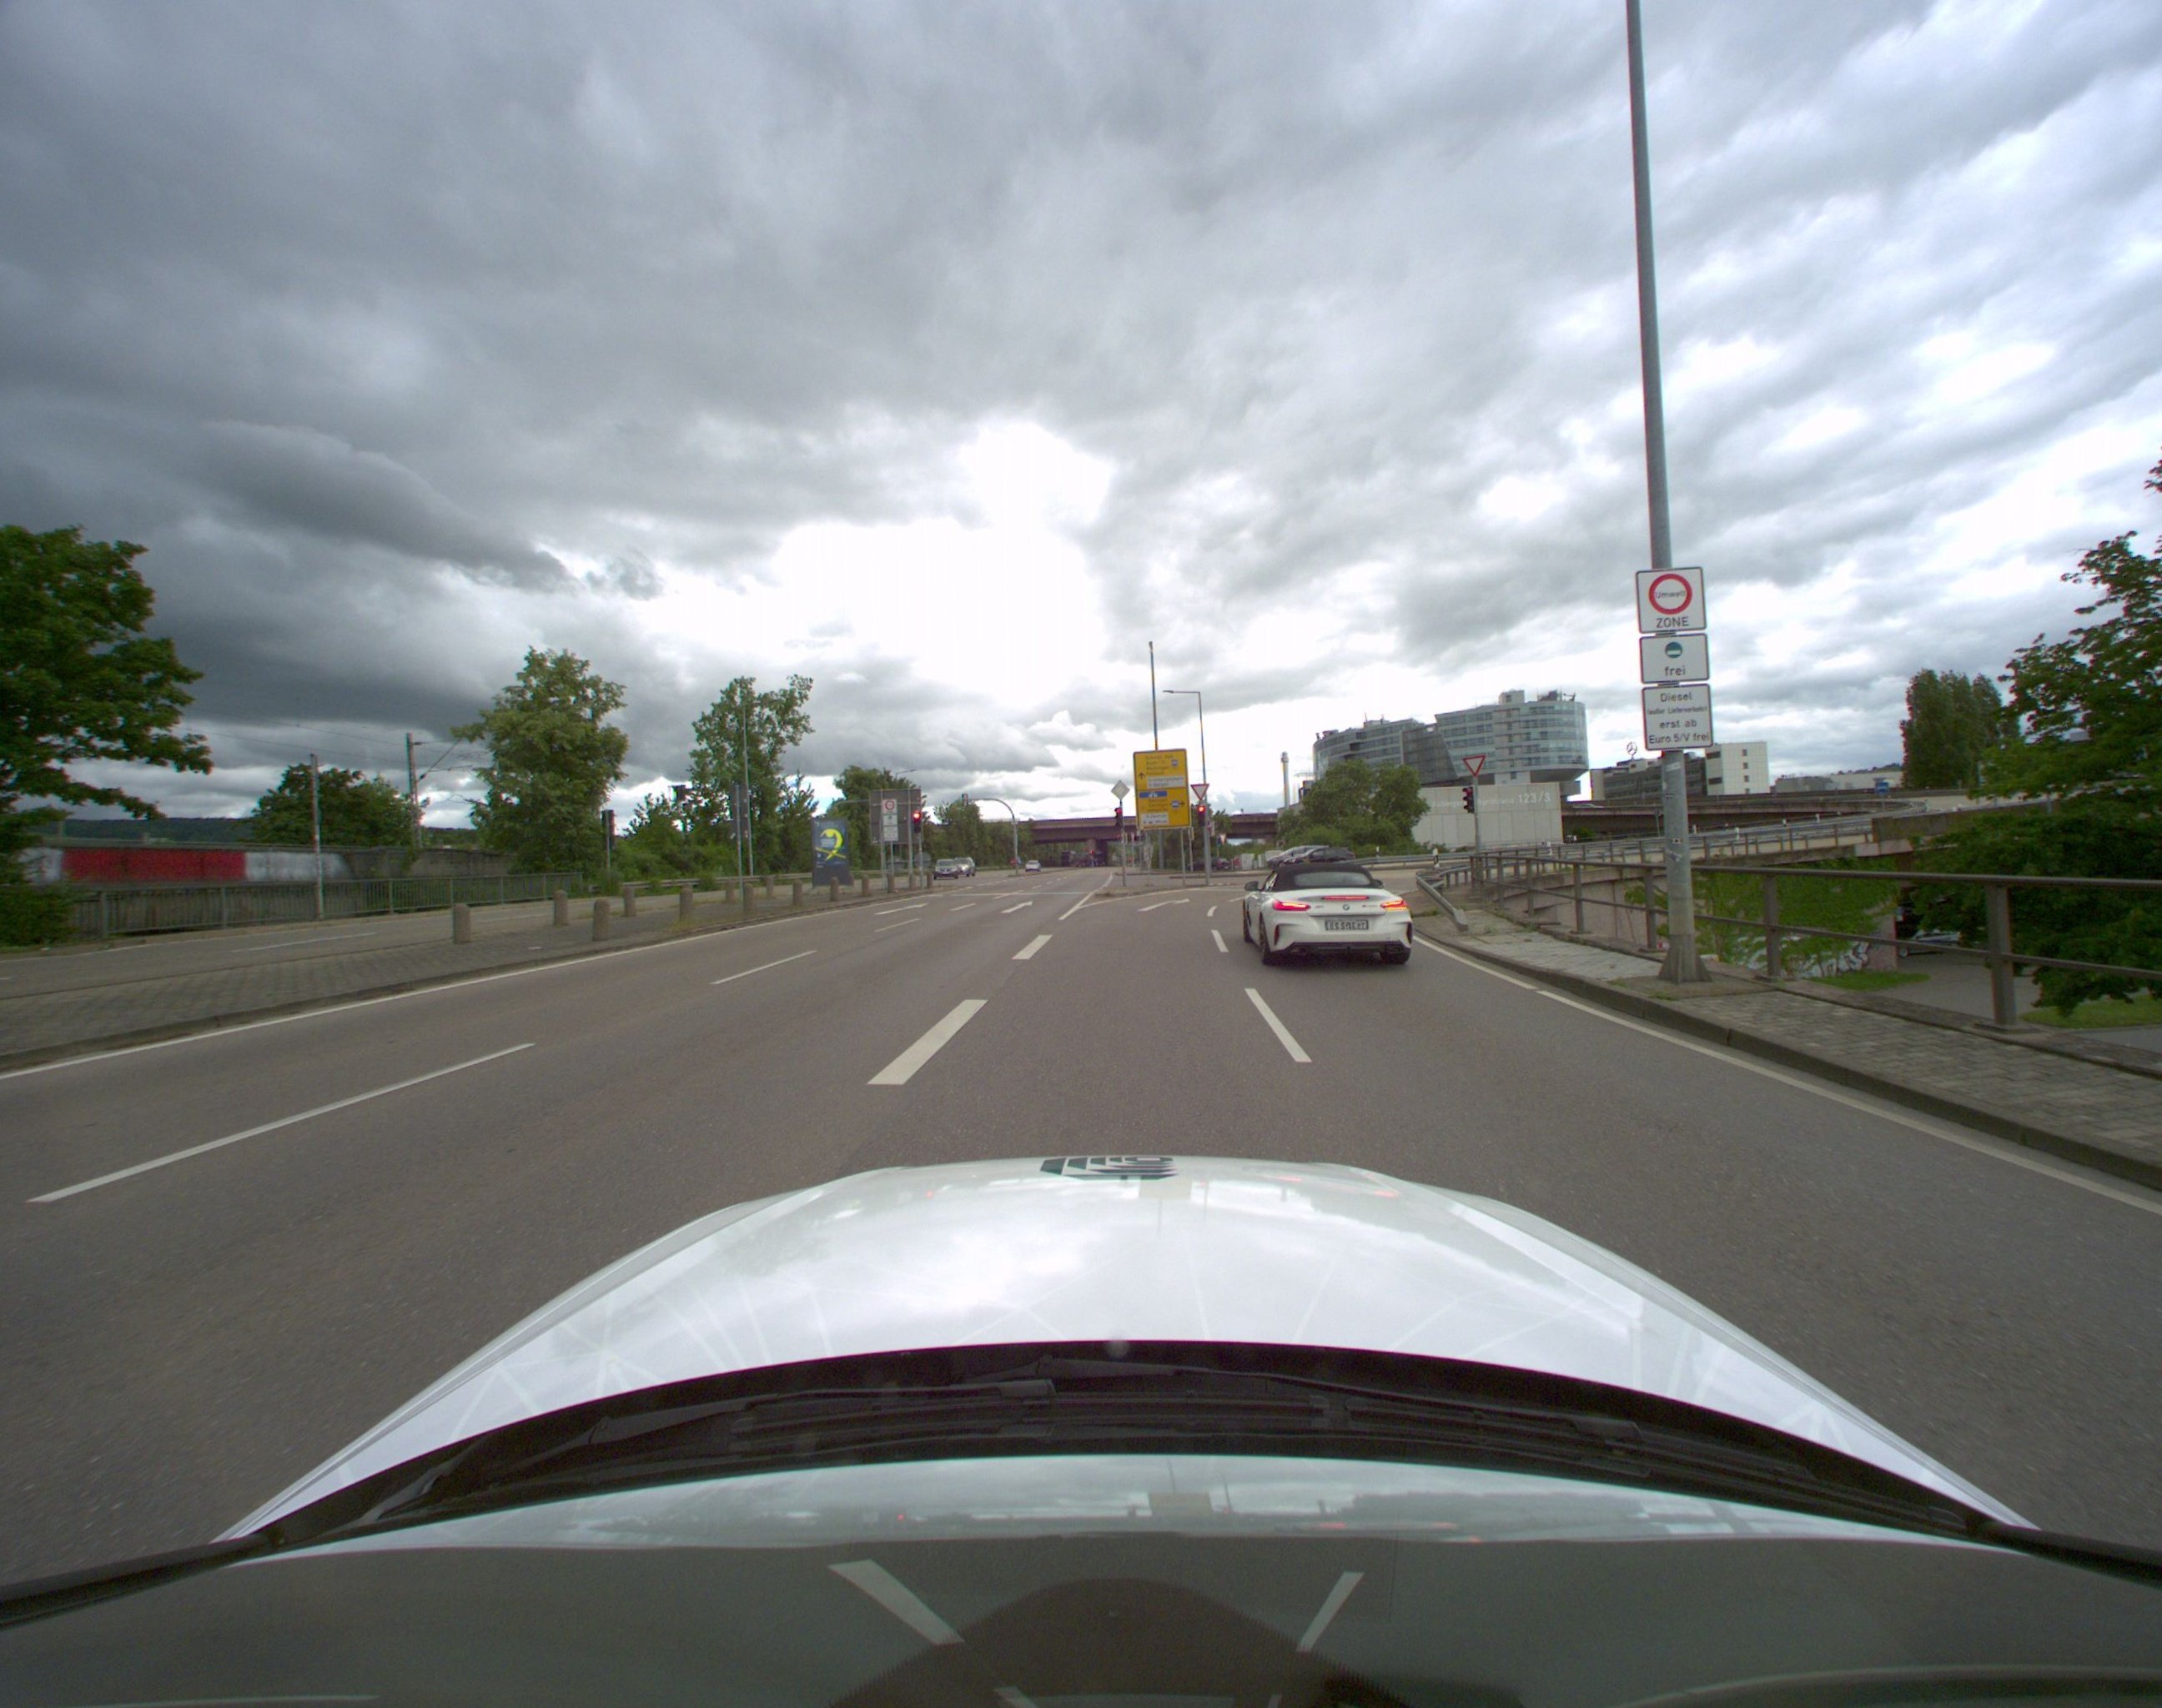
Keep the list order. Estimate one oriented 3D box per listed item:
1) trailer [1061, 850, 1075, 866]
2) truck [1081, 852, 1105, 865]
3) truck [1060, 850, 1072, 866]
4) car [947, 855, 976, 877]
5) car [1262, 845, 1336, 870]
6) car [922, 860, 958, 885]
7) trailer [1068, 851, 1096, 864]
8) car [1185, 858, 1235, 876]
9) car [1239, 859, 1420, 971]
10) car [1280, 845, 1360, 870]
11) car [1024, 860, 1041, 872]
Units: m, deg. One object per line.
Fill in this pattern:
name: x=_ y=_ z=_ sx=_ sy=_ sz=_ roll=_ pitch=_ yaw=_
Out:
trailer: x=-3.597 y=1.032 z=224.482 sx=2.859 sy=4.084 sz=11.440 roll=0 pitch=0 yaw=4
truck: x=2.546 y=0.970 z=172.736 sx=2.628 sy=2.624 sz=5.725 roll=2 pitch=0 yaw=-30
truck: x=-4.001 y=1.028 z=218.924 sx=2.859 sy=4.084 sz=6.494 roll=0 pitch=0 yaw=4
car: x=-10.334 y=1.021 z=70.782 sx=1.718 sy=1.737 sz=4.555 roll=-2 pitch=0 yaw=0
car: x=15.246 y=0.229 z=57.153 sx=4.662 sy=1.571 sz=1.956 roll=-2 pitch=0 yaw=0
car: x=-10.392 y=1.407 z=59.979 sx=1.731 sy=1.462 sz=4.210 roll=2 pitch=-6 yaw=-22
trailer: x=0.187 y=0.821 z=176.897 sx=2.615 sy=2.624 sz=8.497 roll=2 pitch=0 yaw=-26
car: x=11.406 y=1.141 z=72.401 sx=2.010 sy=1.464 sz=4.062 roll=1 pitch=-3 yaw=-39
car: x=3.372 y=0.749 z=11.857 sx=1.795 sy=1.291 sz=4.271 roll=-1 pitch=0 yaw=7
car: x=15.448 y=0.220 z=52.799 sx=4.594 sy=1.457 sz=1.954 roll=-2 pitch=0 yaw=-3
car: x=-6.221 y=1.575 z=105.247 sx=1.717 sy=1.400 sz=4.069 roll=-3 pitch=0 yaw=2
